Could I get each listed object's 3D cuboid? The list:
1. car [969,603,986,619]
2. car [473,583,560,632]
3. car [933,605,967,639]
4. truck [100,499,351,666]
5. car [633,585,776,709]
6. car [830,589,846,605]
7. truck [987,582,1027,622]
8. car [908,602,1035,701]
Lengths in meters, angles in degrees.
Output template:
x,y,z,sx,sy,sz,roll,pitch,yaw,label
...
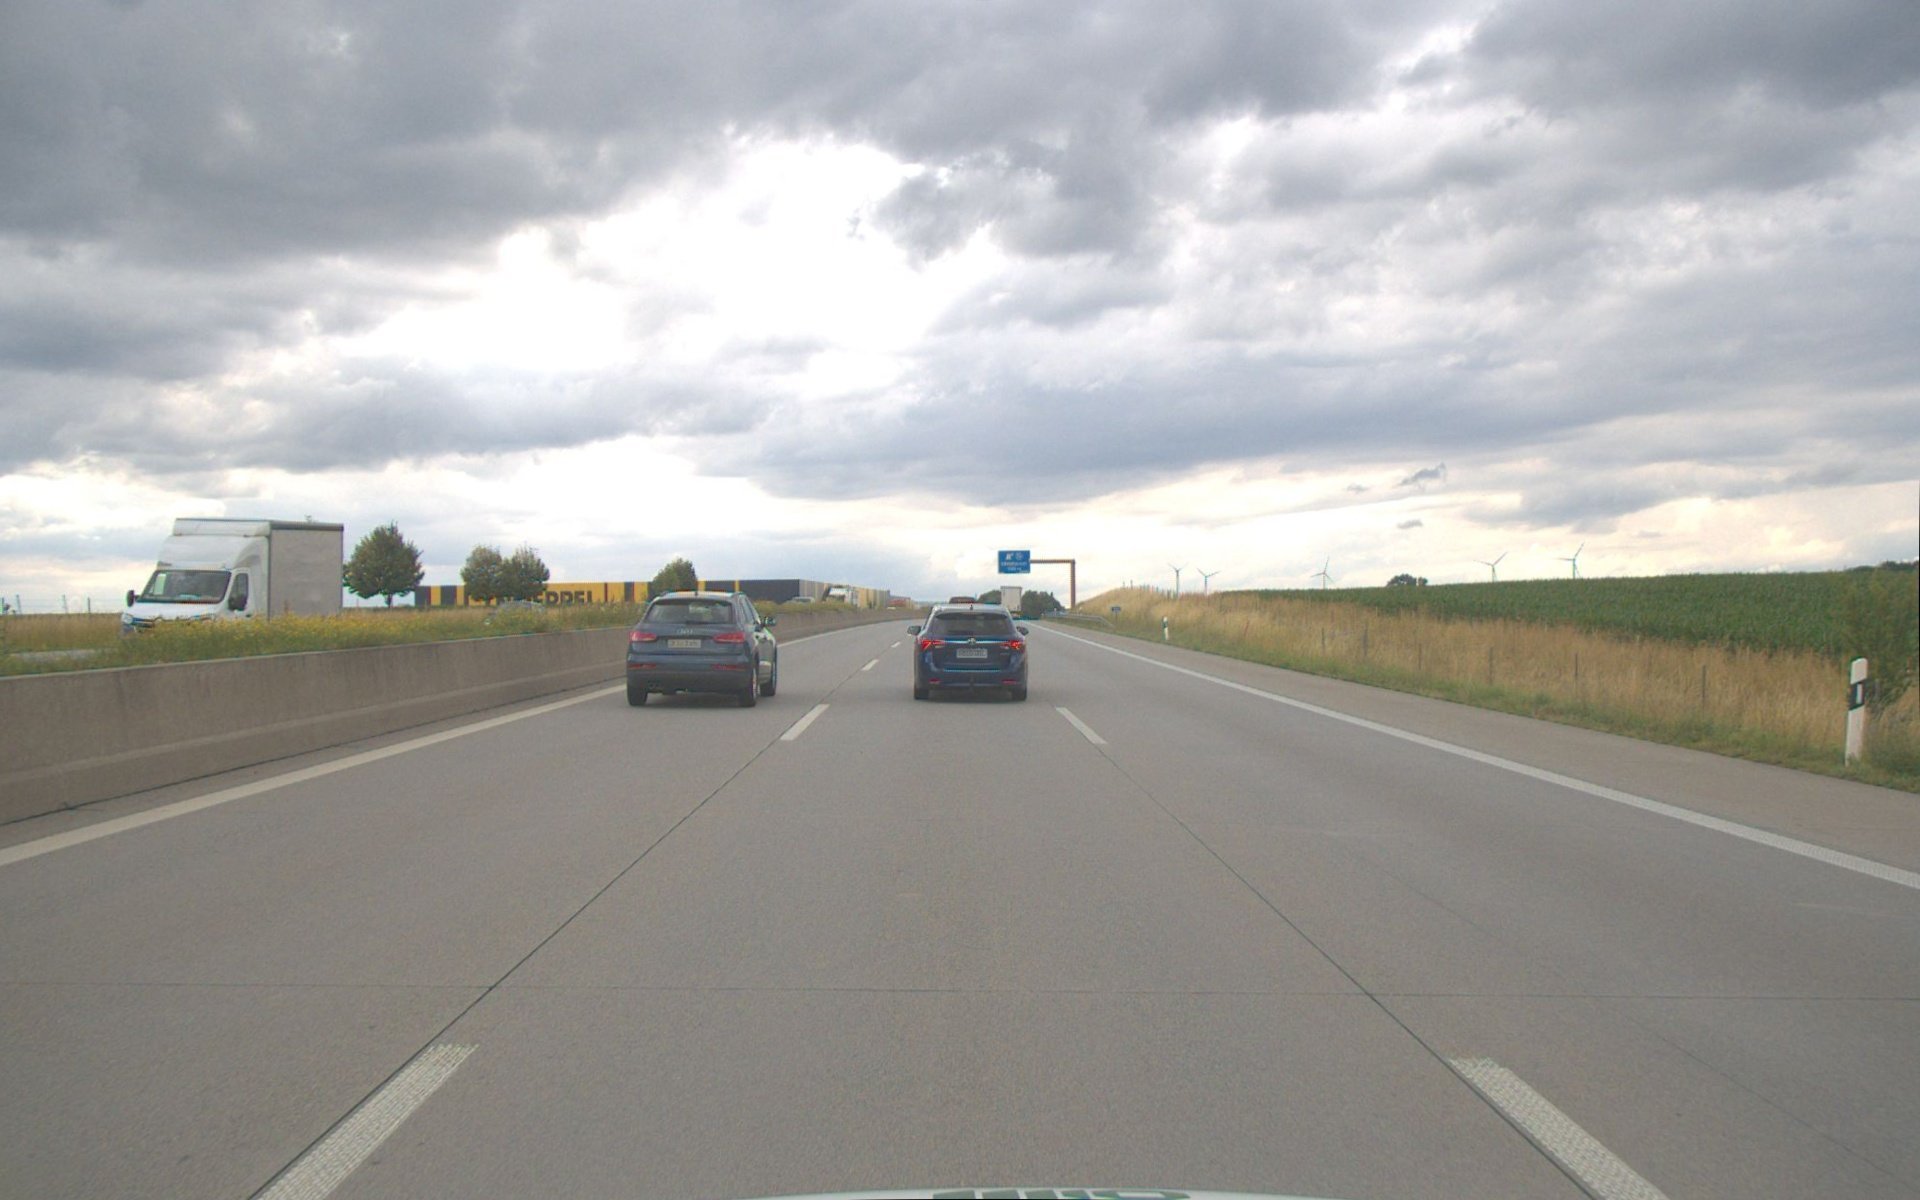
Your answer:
x,y,z,sx,sy,sz,roll,pitch,yaw,label
2.354,1.425,220.325,1.954,2.049,3.997,1,-1,-4,car
-15.571,0.282,58.317,1.953,1.640,4.114,1,-1,0,car
-0.664,1.385,104.249,1.953,2.049,3.998,1,-1,-2,car
-16.372,-0.310,37.477,2.309,3.386,7.296,1,-1,0,truck
-3.694,0.626,24.667,1.758,1.624,5.151,1,0,-5,car
-16.731,-0.440,227.089,1.953,2.049,3.999,1,-1,0,car
5.847,0.300,208.333,3.872,4.839,12.066,1,-1,-4,truck
0.101,0.768,26.244,1.739,1.438,3.997,0,0,-4,car
